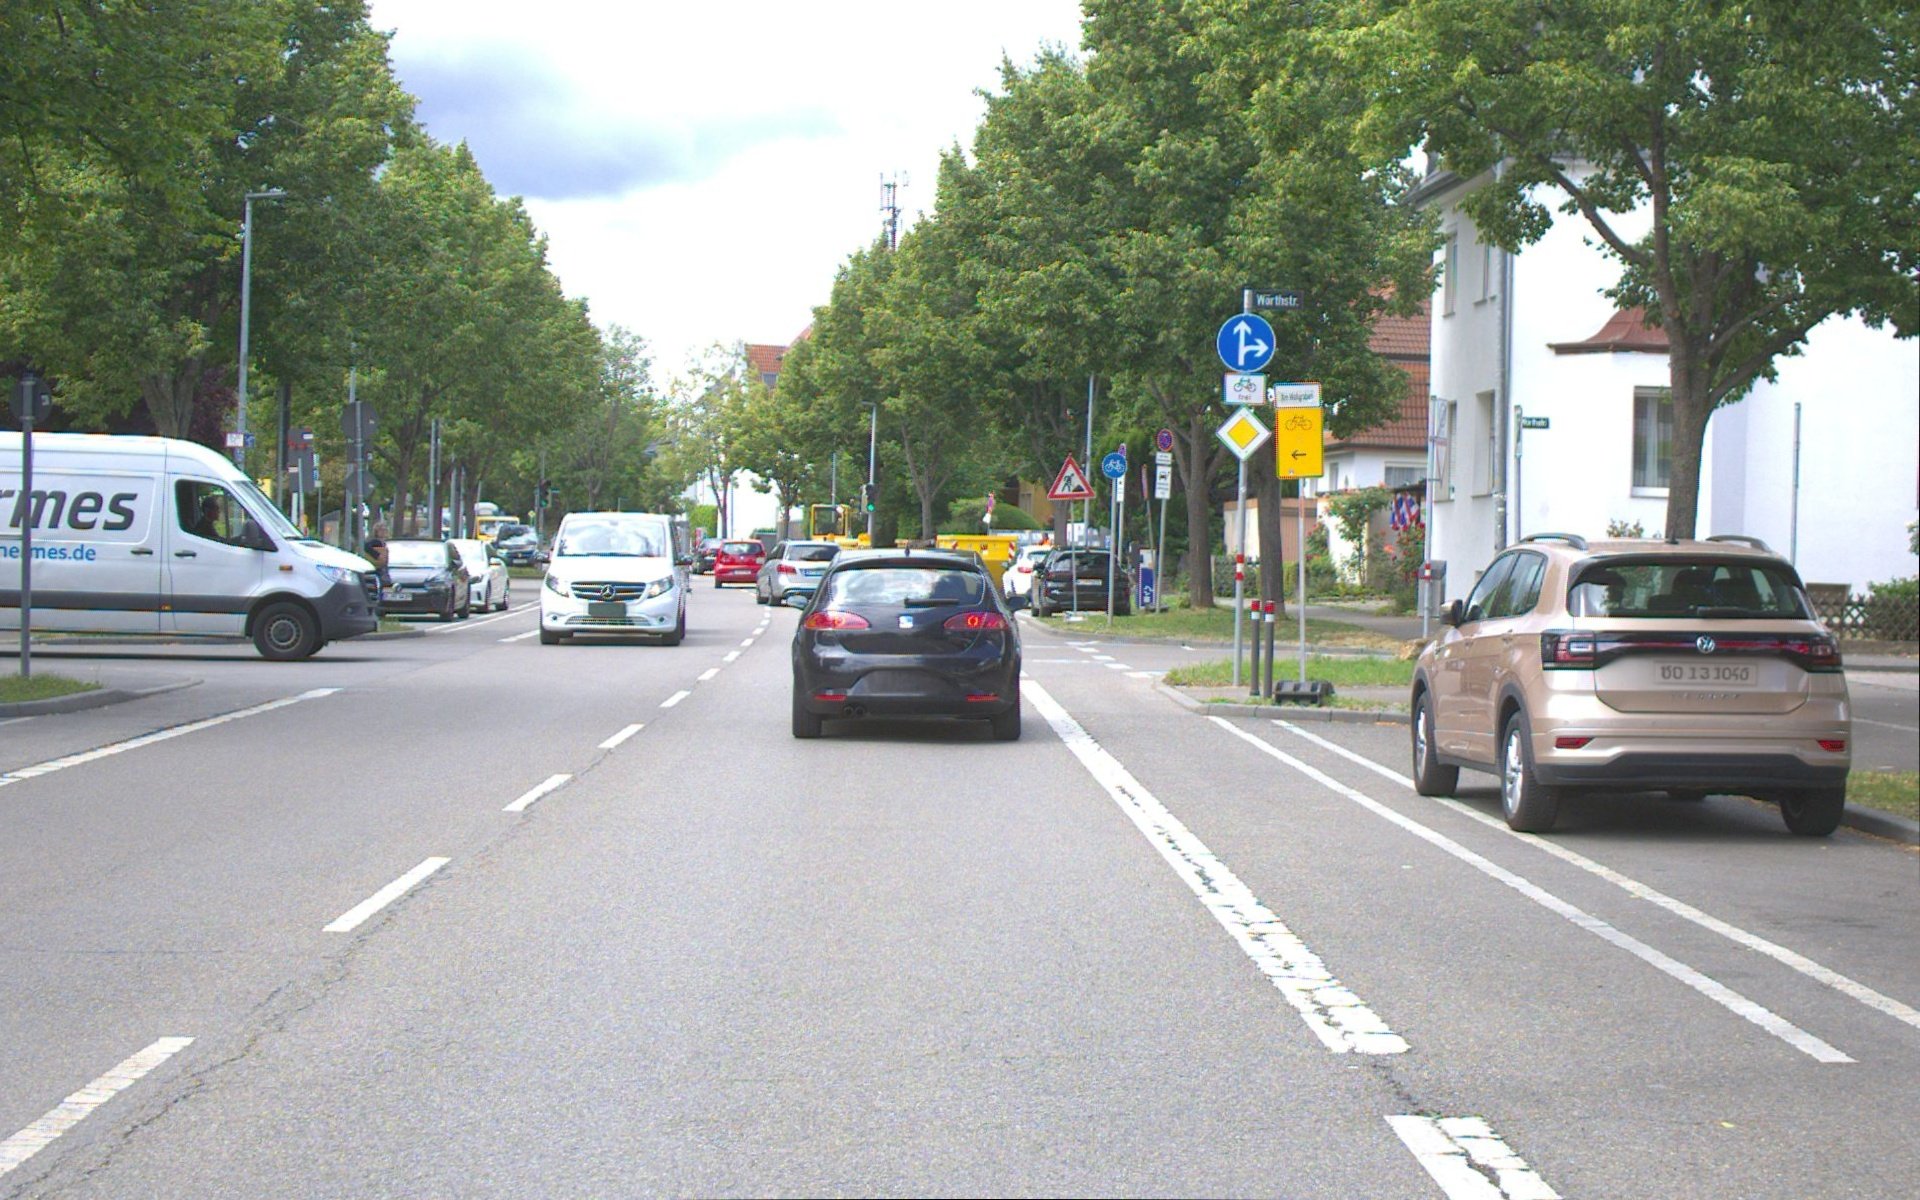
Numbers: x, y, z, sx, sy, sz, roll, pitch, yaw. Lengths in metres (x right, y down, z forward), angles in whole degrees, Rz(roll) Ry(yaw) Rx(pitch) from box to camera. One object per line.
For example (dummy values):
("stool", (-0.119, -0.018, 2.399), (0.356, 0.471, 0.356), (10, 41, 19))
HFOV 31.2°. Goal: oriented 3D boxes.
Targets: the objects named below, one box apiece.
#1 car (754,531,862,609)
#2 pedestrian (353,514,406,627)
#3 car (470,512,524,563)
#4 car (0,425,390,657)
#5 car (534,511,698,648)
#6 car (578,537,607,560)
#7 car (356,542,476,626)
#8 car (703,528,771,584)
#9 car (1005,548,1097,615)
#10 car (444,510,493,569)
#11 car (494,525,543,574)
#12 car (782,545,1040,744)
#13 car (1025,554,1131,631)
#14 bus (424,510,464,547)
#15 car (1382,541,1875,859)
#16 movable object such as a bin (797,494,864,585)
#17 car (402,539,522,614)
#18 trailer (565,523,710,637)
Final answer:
("car", (-3.423, -0.684, 76.769), (1.905, 1.680, 3.741), (0, 1, -10))
("pedestrian", (-8.839, -0.456, 52.395), (0.542, 1.675, 0.750), (3, 2, 7))
("car", (-20.057, -2.711, 148.935), (2.092, 2.167, 5.046), (1, 1, -10))
("car", (-10.531, -0.722, 40.595), (7.287, 2.585, 2.221), (1, 1, -5))
("car", (-4.881, -0.320, 49.323), (1.966, 1.824, 4.819), (1, 1, -2))
("car", (-23.863, -3.332, 223.158), (1.809, 1.410, 3.694), (1, 1, -7))
("car", (-9.539, -0.297, 60.524), (1.642, 1.415, 4.021), (0, 1, -3))
("car", (-6.658, -1.305, 102.361), (1.790, 1.617, 3.741), (1, 1, -7))
("car", (2.040, -0.450, 78.344), (1.672, 1.457, 4.001), (1, 1, -4))
("car", (-22.776, -2.813, 159.186), (2.092, 2.617, 5.046), (1, 1, -10))
("car", (-16.345, -1.866, 127.086), (1.667, 1.766, 4.469), (0, 1, -9))
("car", (-0.454, 0.294, 26.997), (1.818, 1.433, 3.740), (1, 1, -4))
("car", (2.316, -0.179, 68.443), (1.705, 1.449, 4.617), (1, 1, -3))
("bus", (-30.855, -4.271, 205.346), (1.993, 2.116, 7.361), (1, 1, -11))
("car", (3.626, 0.473, 19.387), (1.721, 1.575, 4.062), (1, 1, -4))
("movable object such as a bin", (-3.803, -1.758, 100.425), (1.768, 2.565, 3.740), (1, 1, -4))
("car", (-9.733, -0.475, 67.448), (1.714, 1.401, 4.300), (1, 1, 0))
("trailer", (-5.018, -0.336, 54.069), (1.938, 1.671, 4.689), (1, 1, -2))
